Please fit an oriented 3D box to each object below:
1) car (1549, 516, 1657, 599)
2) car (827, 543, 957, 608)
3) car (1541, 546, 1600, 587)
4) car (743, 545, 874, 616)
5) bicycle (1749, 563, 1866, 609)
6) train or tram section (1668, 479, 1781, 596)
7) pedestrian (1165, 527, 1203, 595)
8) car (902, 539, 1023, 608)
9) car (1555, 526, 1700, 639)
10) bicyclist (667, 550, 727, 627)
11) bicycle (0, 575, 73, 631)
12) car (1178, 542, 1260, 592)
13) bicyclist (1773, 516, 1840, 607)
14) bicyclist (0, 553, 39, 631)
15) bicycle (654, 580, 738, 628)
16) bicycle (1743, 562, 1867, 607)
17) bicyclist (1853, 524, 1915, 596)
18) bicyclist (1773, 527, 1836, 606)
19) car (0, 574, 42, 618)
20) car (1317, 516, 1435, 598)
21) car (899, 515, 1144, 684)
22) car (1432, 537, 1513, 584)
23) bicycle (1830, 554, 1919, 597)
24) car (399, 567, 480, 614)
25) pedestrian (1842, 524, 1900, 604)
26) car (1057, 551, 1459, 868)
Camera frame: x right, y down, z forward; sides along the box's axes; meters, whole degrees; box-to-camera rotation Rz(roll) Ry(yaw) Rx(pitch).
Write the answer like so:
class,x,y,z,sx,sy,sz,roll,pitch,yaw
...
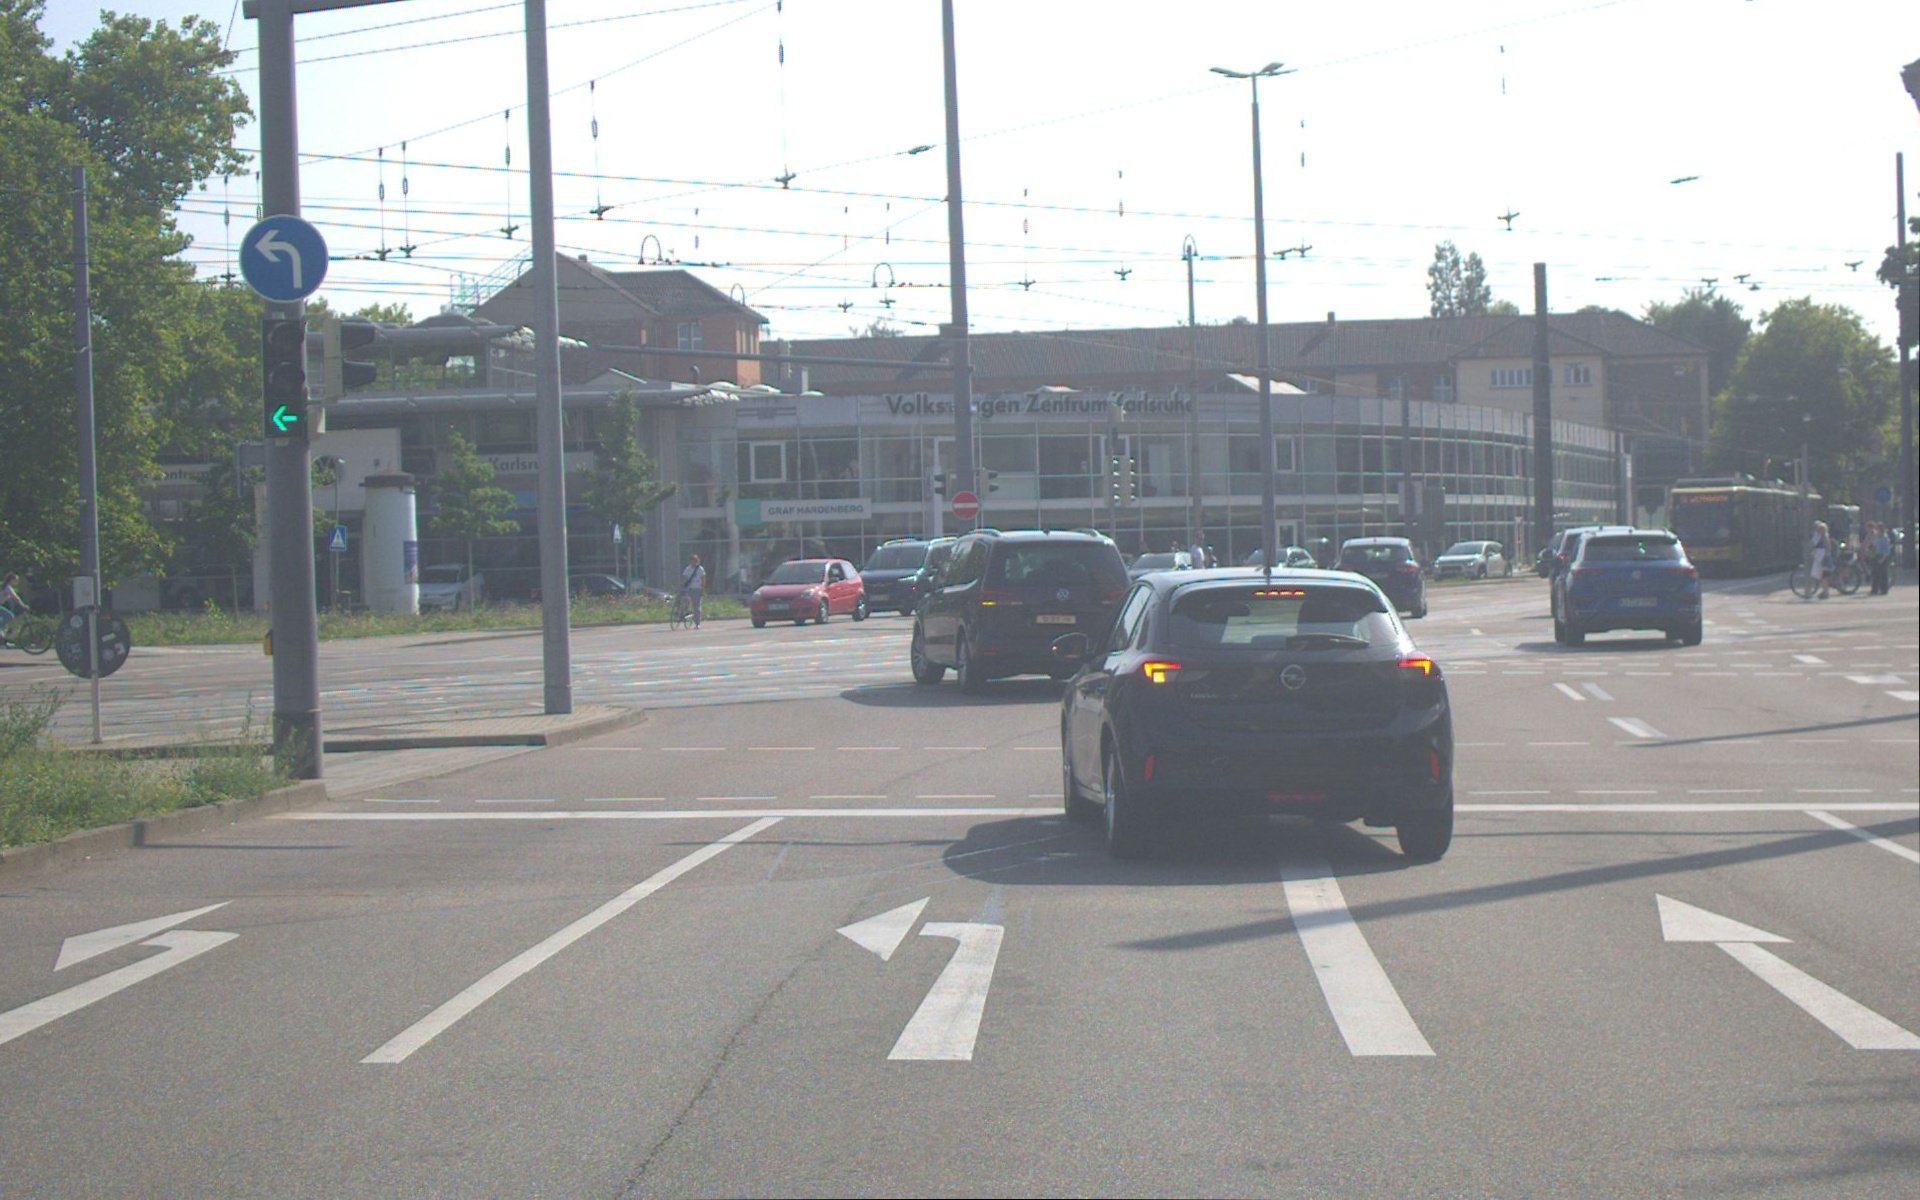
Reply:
class,x,y,z,sx,sy,sz,roll,pitch,yaw
car,11.727,-0.796,62.707,1.826,1.423,4.410,-1,1,11
car,-1.648,-0.619,84.807,1.962,1.470,3.997,-3,0,18
car,23.753,-1.303,133.666,1.615,1.470,3.996,-3,0,19
car,-3.400,-0.460,77.755,1.615,1.470,3.997,-3,0,18
bicycle,19.146,-0.321,77.620,2.618,0.961,1.093,-2,1,-34
train or tram section,25.708,-2.142,115.321,2.657,3.686,10.580,-1,1,18
pedestrian,5.063,-0.884,77.557,0.778,1.498,0.710,-1,1,8
car,0.089,-0.629,79.534,1.615,1.470,3.997,-3,0,18
car,9.096,-0.274,46.993,1.826,1.423,4.410,-1,1,10
bicyclist,-6.010,-0.261,78.626,0.958,1.742,1.165,-1,1,19
bicycle,-19.000,0.072,68.337,2.599,1.053,0.961,-2,1,-12
car,8.321,-1.078,110.150,1.615,1.470,3.996,-3,0,19
bicyclist,19.096,-0.862,77.591,0.934,2.017,1.093,-2,1,-34
bicyclist,-18.955,-0.164,68.342,1.162,1.522,0.961,-2,1,-12
bicycle,-6.014,0.082,78.606,0.958,1.053,2.606,-1,1,19
bicycle,19.637,-0.363,79.873,2.617,0.961,1.093,-2,1,-21
bicyclist,21.826,-0.944,81.236,0.934,1.674,1.093,-2,1,-21
bicyclist,19.614,-0.783,79.858,0.934,1.793,1.093,-2,1,-21
car,-34.464,-0.104,120.316,1.703,1.517,4.506,0,1,34
car,8.284,-0.874,68.223,1.826,1.530,4.410,-1,1,13
car,0.601,-0.042,37.621,1.825,1.708,4.413,-1,1,-10
car,17.776,-1.381,119.082,1.616,1.470,3.995,-3,0,25
bicycle,22.013,-0.583,81.317,2.617,0.961,1.093,-2,1,-21
car,-17.812,-0.335,117.757,1.700,1.517,4.098,-1,1,7
pedestrian,20.866,-0.826,78.748,0.925,1.791,0.859,-2,1,-38
car,1.475,0.489,18.483,1.682,1.486,4.373,0,1,-1
